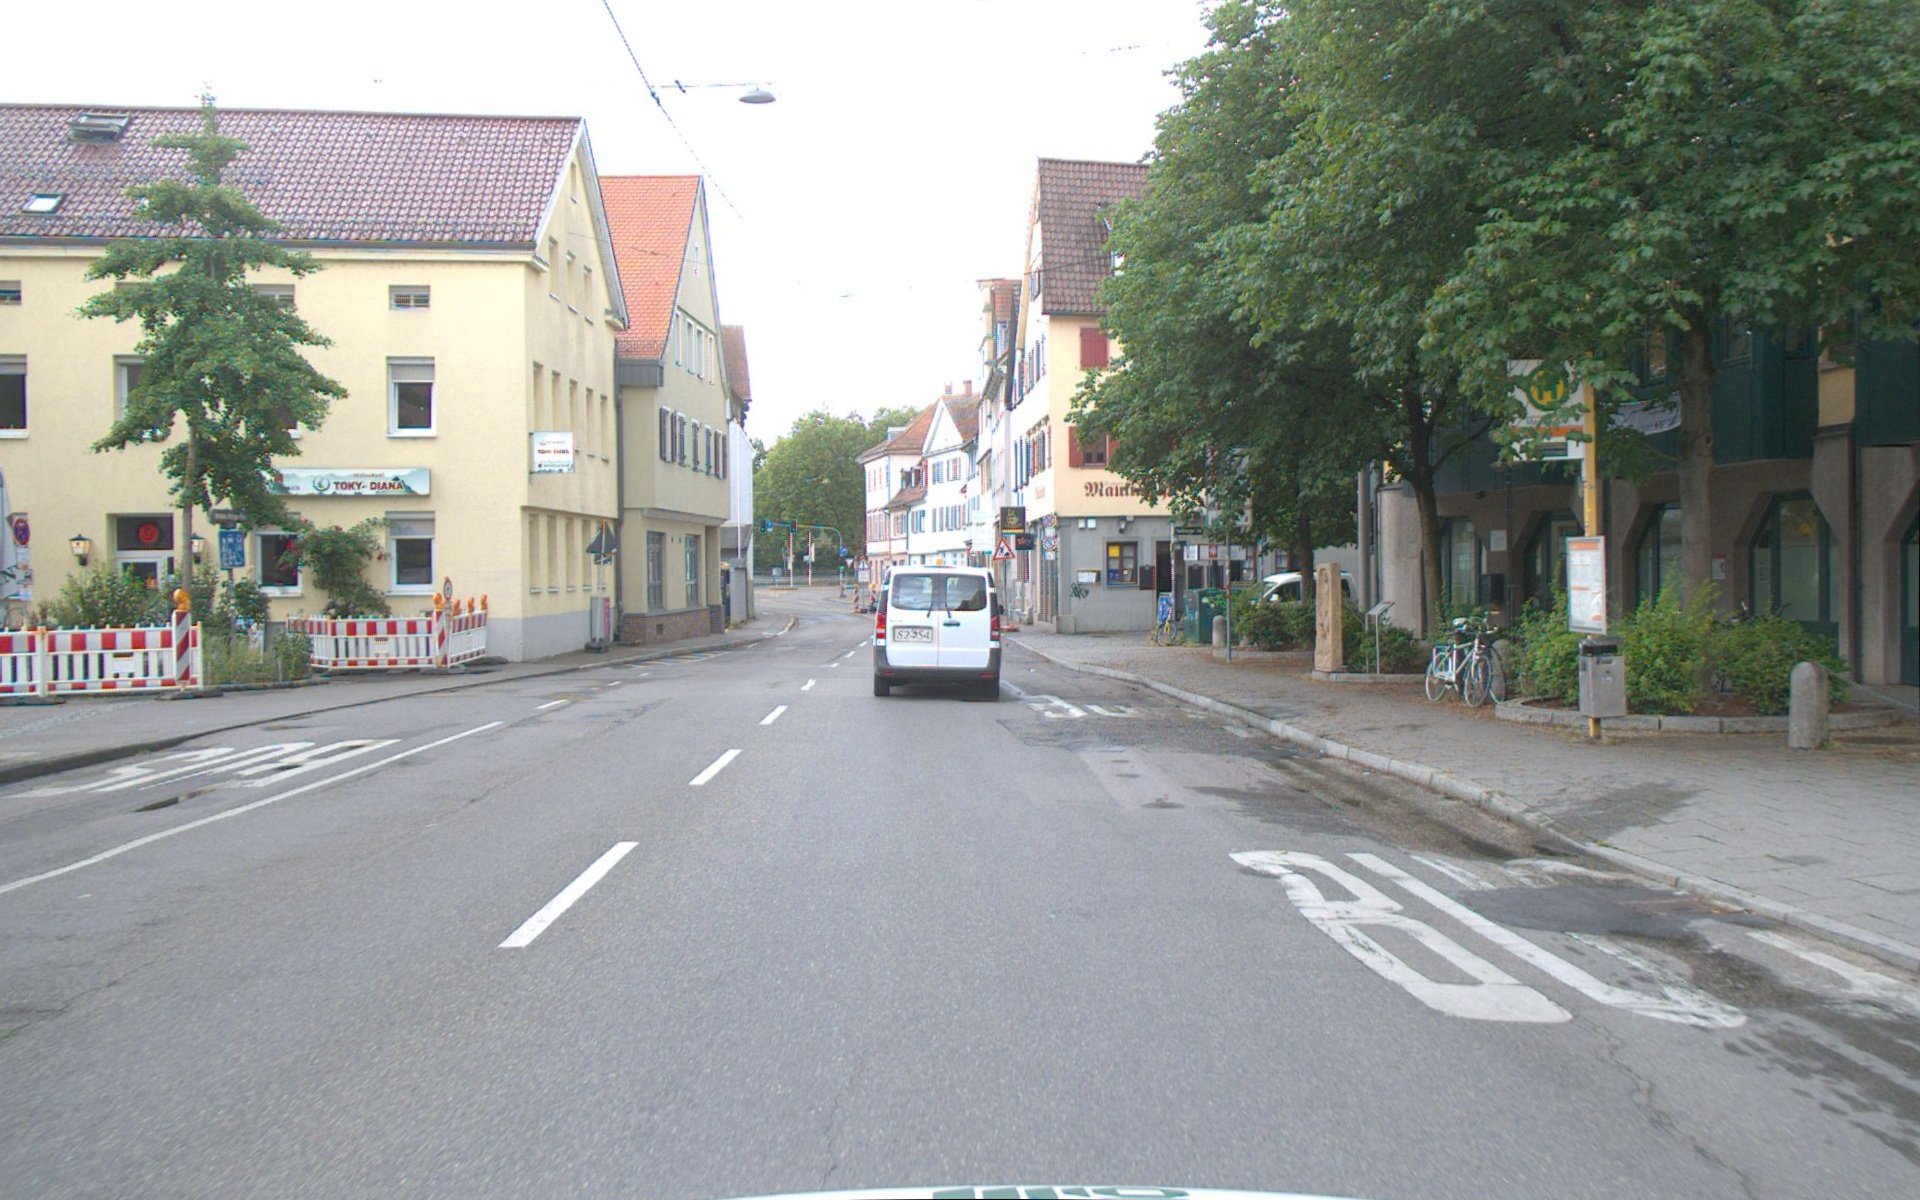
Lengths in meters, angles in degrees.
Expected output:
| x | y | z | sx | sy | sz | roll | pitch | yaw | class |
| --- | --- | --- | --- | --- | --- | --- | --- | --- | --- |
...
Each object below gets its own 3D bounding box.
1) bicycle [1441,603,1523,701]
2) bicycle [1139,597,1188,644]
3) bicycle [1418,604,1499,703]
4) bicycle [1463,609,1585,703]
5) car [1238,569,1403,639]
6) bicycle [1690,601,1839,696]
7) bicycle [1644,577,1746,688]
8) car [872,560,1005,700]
| x | y | z | sx | sy | sz | roll | pitch | yaw | class |
| --- | --- | --- | --- | --- | --- | --- | --- | --- | --- |
| 6.501 | 0.622 | 20.682 | 0.326 | 1.161 | 1.958 | 0 | 0 | -3 | bicycle |
| 5.051 | 0.497 | 41.144 | 0.492 | 1.126 | 1.627 | -1 | 0 | -21 | bicycle |
| 6.174 | 0.637 | 20.562 | 0.326 | 1.161 | 1.958 | 0 | 0 | -3 | bicycle |
| 7.141 | 0.677 | 21.044 | 0.534 | 1.088 | 2.288 | -1 | 0 | -6 | bicycle |
| 10.121 | 0.084 | 46.563 | 4.165 | 1.828 | 1.844 | -1 | 2 | -11 | car |
| 10.022 | 0.572 | 20.706 | 0.534 | 1.088 | 2.288 | -1 | 0 | -6 | bicycle |
| 9.162 | 0.382 | 20.682 | 0.326 | 1.323 | 1.958 | 0 | 0 | -3 | bicycle |
| -0.318 | 0.391 | 25.134 | 1.834 | 1.945 | 4.000 | -1 | 1 | -1 | car |
